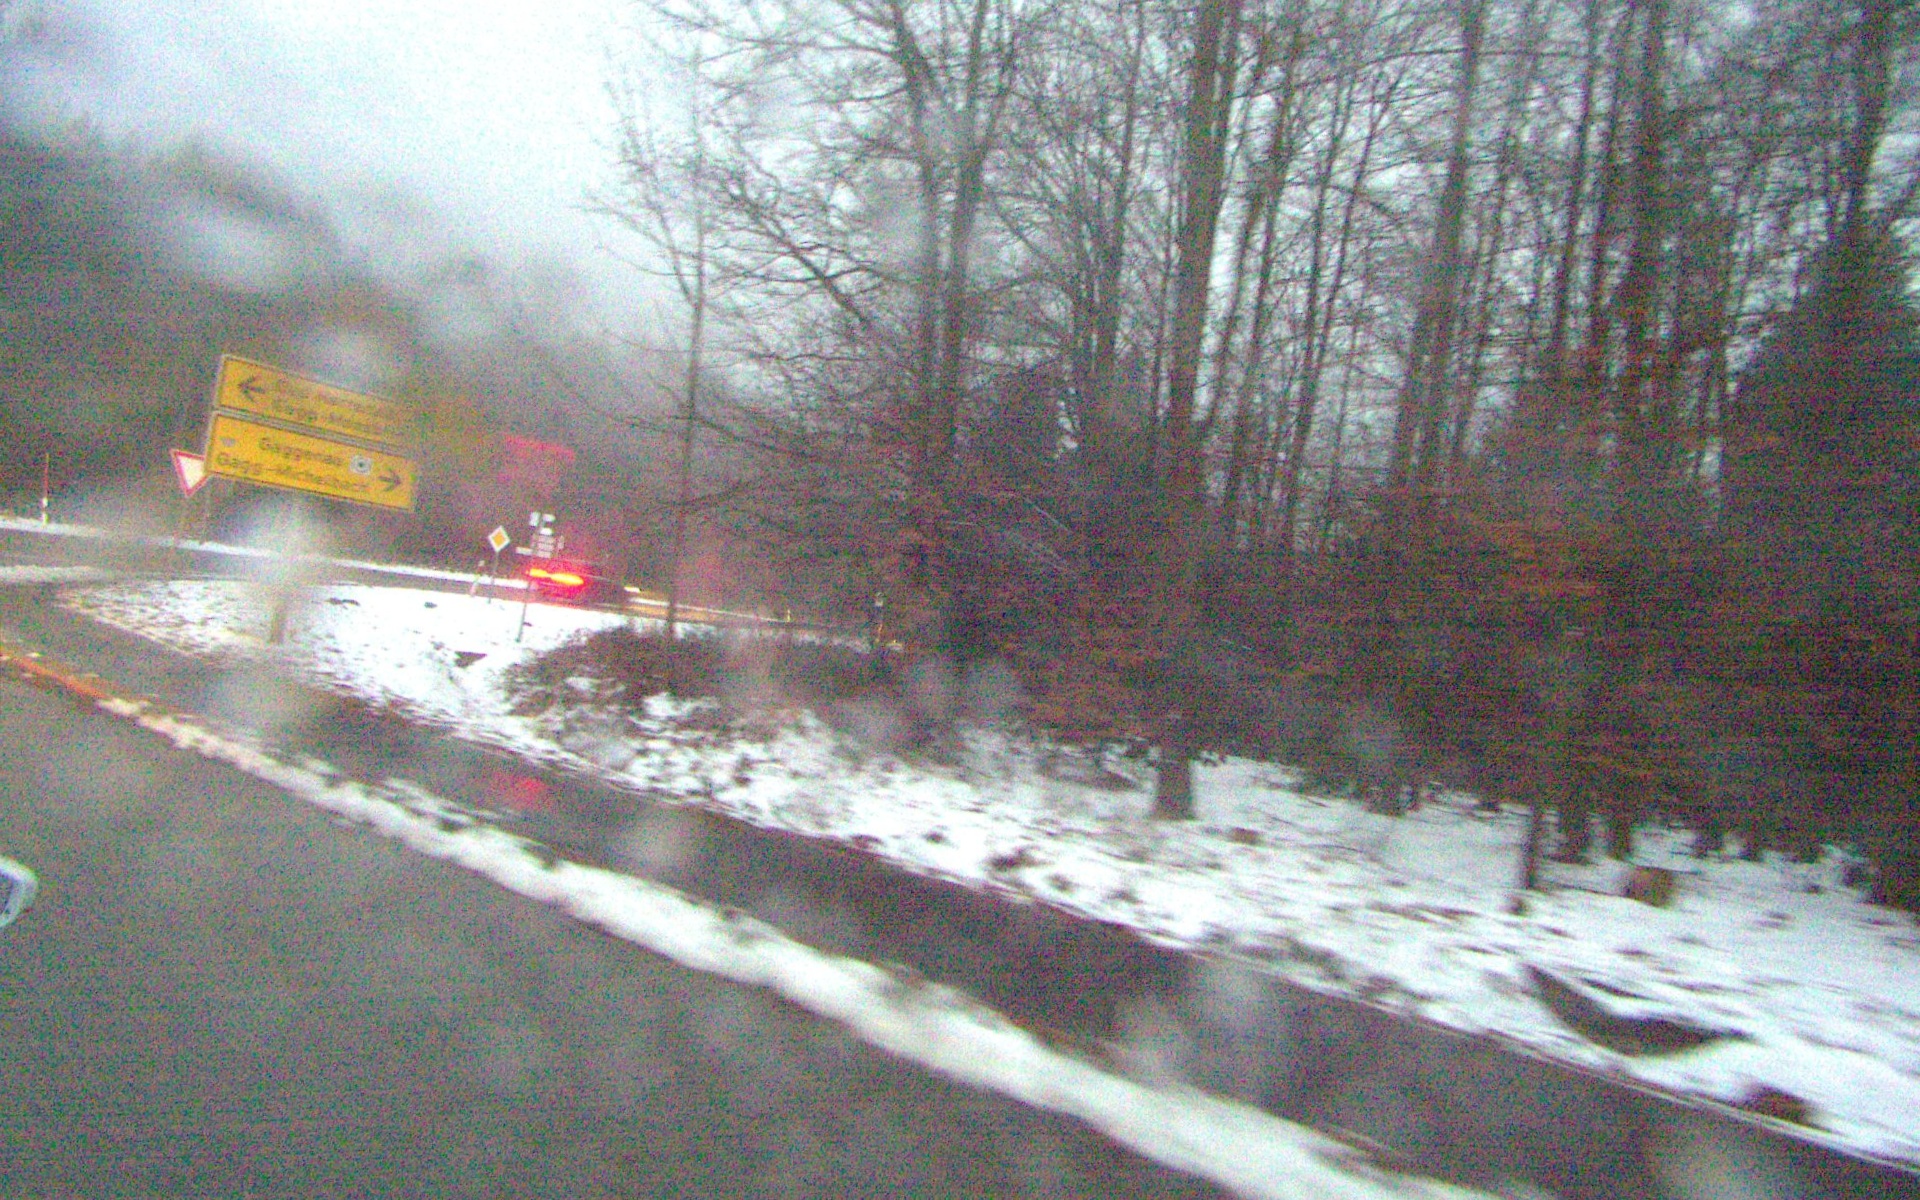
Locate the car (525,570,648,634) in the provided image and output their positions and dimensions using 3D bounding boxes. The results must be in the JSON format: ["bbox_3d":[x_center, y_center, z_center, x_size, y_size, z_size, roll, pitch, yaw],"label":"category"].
[{"bbox_3d":[-15.001,0.153,40.764,1.654,1.967,5.026,7,-3,20],"label":"car"}]
